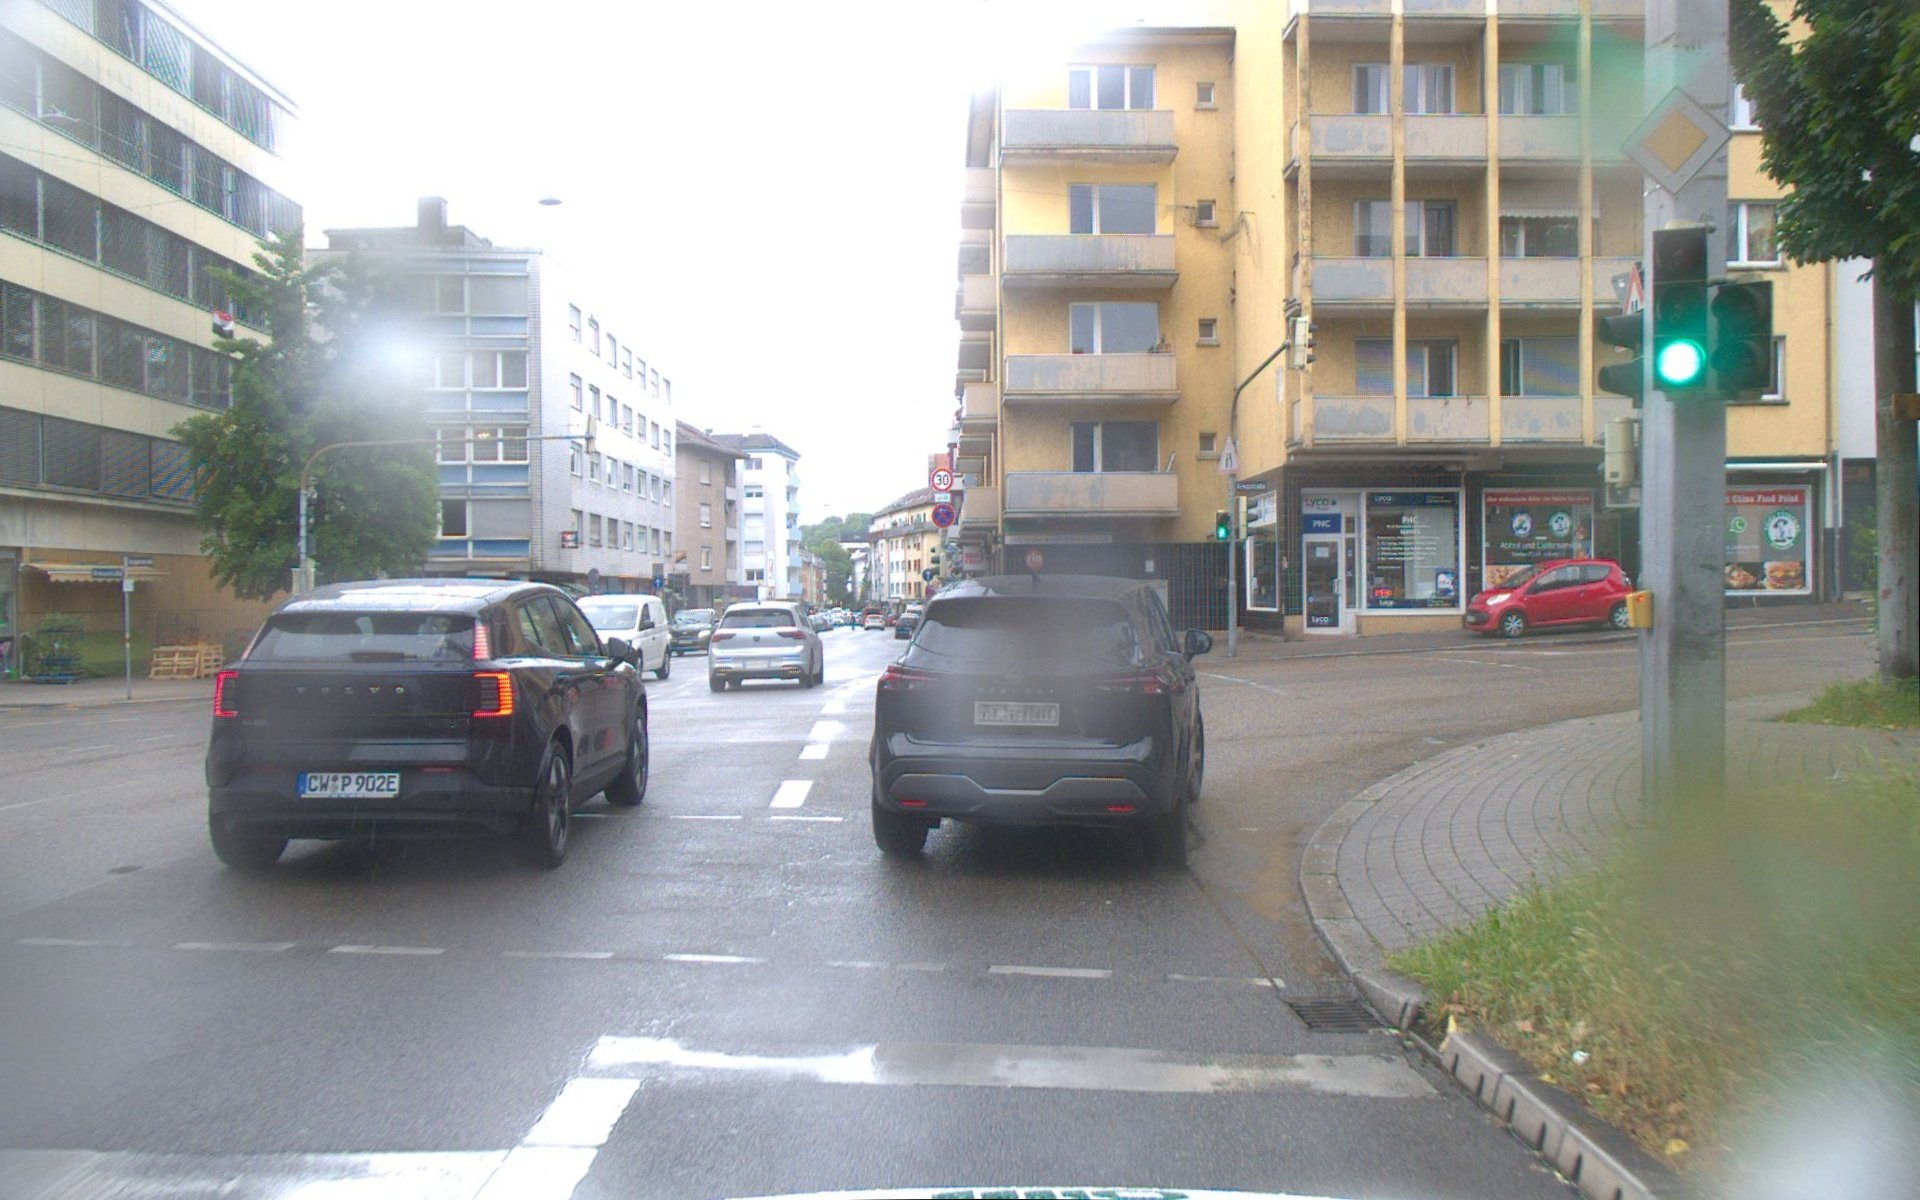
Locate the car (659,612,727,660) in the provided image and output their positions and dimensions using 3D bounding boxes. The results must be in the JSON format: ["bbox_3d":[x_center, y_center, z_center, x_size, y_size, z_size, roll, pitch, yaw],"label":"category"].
[{"bbox_3d":[-9.870,1.297,61.388,1.743,1.624,3.794,-2,0,2],"label":"car"}]

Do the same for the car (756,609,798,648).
[{"bbox_3d":[-10.457,1.589,94.610,1.872,2.048,3.999,-3,0,-1],"label":"car"}]

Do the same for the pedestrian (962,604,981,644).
[{"bbox_3d":[0.466,0.979,67.300,0.614,1.585,0.706,-1,0,13],"label":"pedestrian"}]

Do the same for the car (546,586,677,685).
[{"bbox_3d":[-7.131,0.686,34.271,1.743,1.847,4.405,-2,0,0],"label":"car"}]

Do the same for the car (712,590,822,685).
[{"bbox_3d":[-3.334,0.602,28.619,1.733,1.469,3.994,-1,0,-7],"label":"car"}]

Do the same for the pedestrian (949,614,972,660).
[{"bbox_3d":[0.018,1.286,57.507,0.688,1.585,0.630,-1,0,8],"label":"pedestrian"}]

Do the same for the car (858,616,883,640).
[{"bbox_3d":[-8.168,2.569,151.578,1.953,2.049,4.000,-3,0,0],"label":"car"}]

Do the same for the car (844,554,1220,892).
[{"bbox_3d":[0.629,0.637,10.569,1.918,1.682,4.003,1,0,8],"label":"car"}]

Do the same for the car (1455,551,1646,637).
[{"bbox_3d":[12.242,-0.137,34.411,3.402,1.584,1.472,-3,1,-3],"label":"car"}]

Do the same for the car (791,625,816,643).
[{"bbox_3d":[-14.234,3.075,150.657,1.954,1.512,3.998,-2,0,-2],"label":"car"}]

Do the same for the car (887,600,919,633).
[{"bbox_3d":[-3.847,1.073,110.831,1.954,2.048,3.997,-3,0,-3],"label":"car"}]
